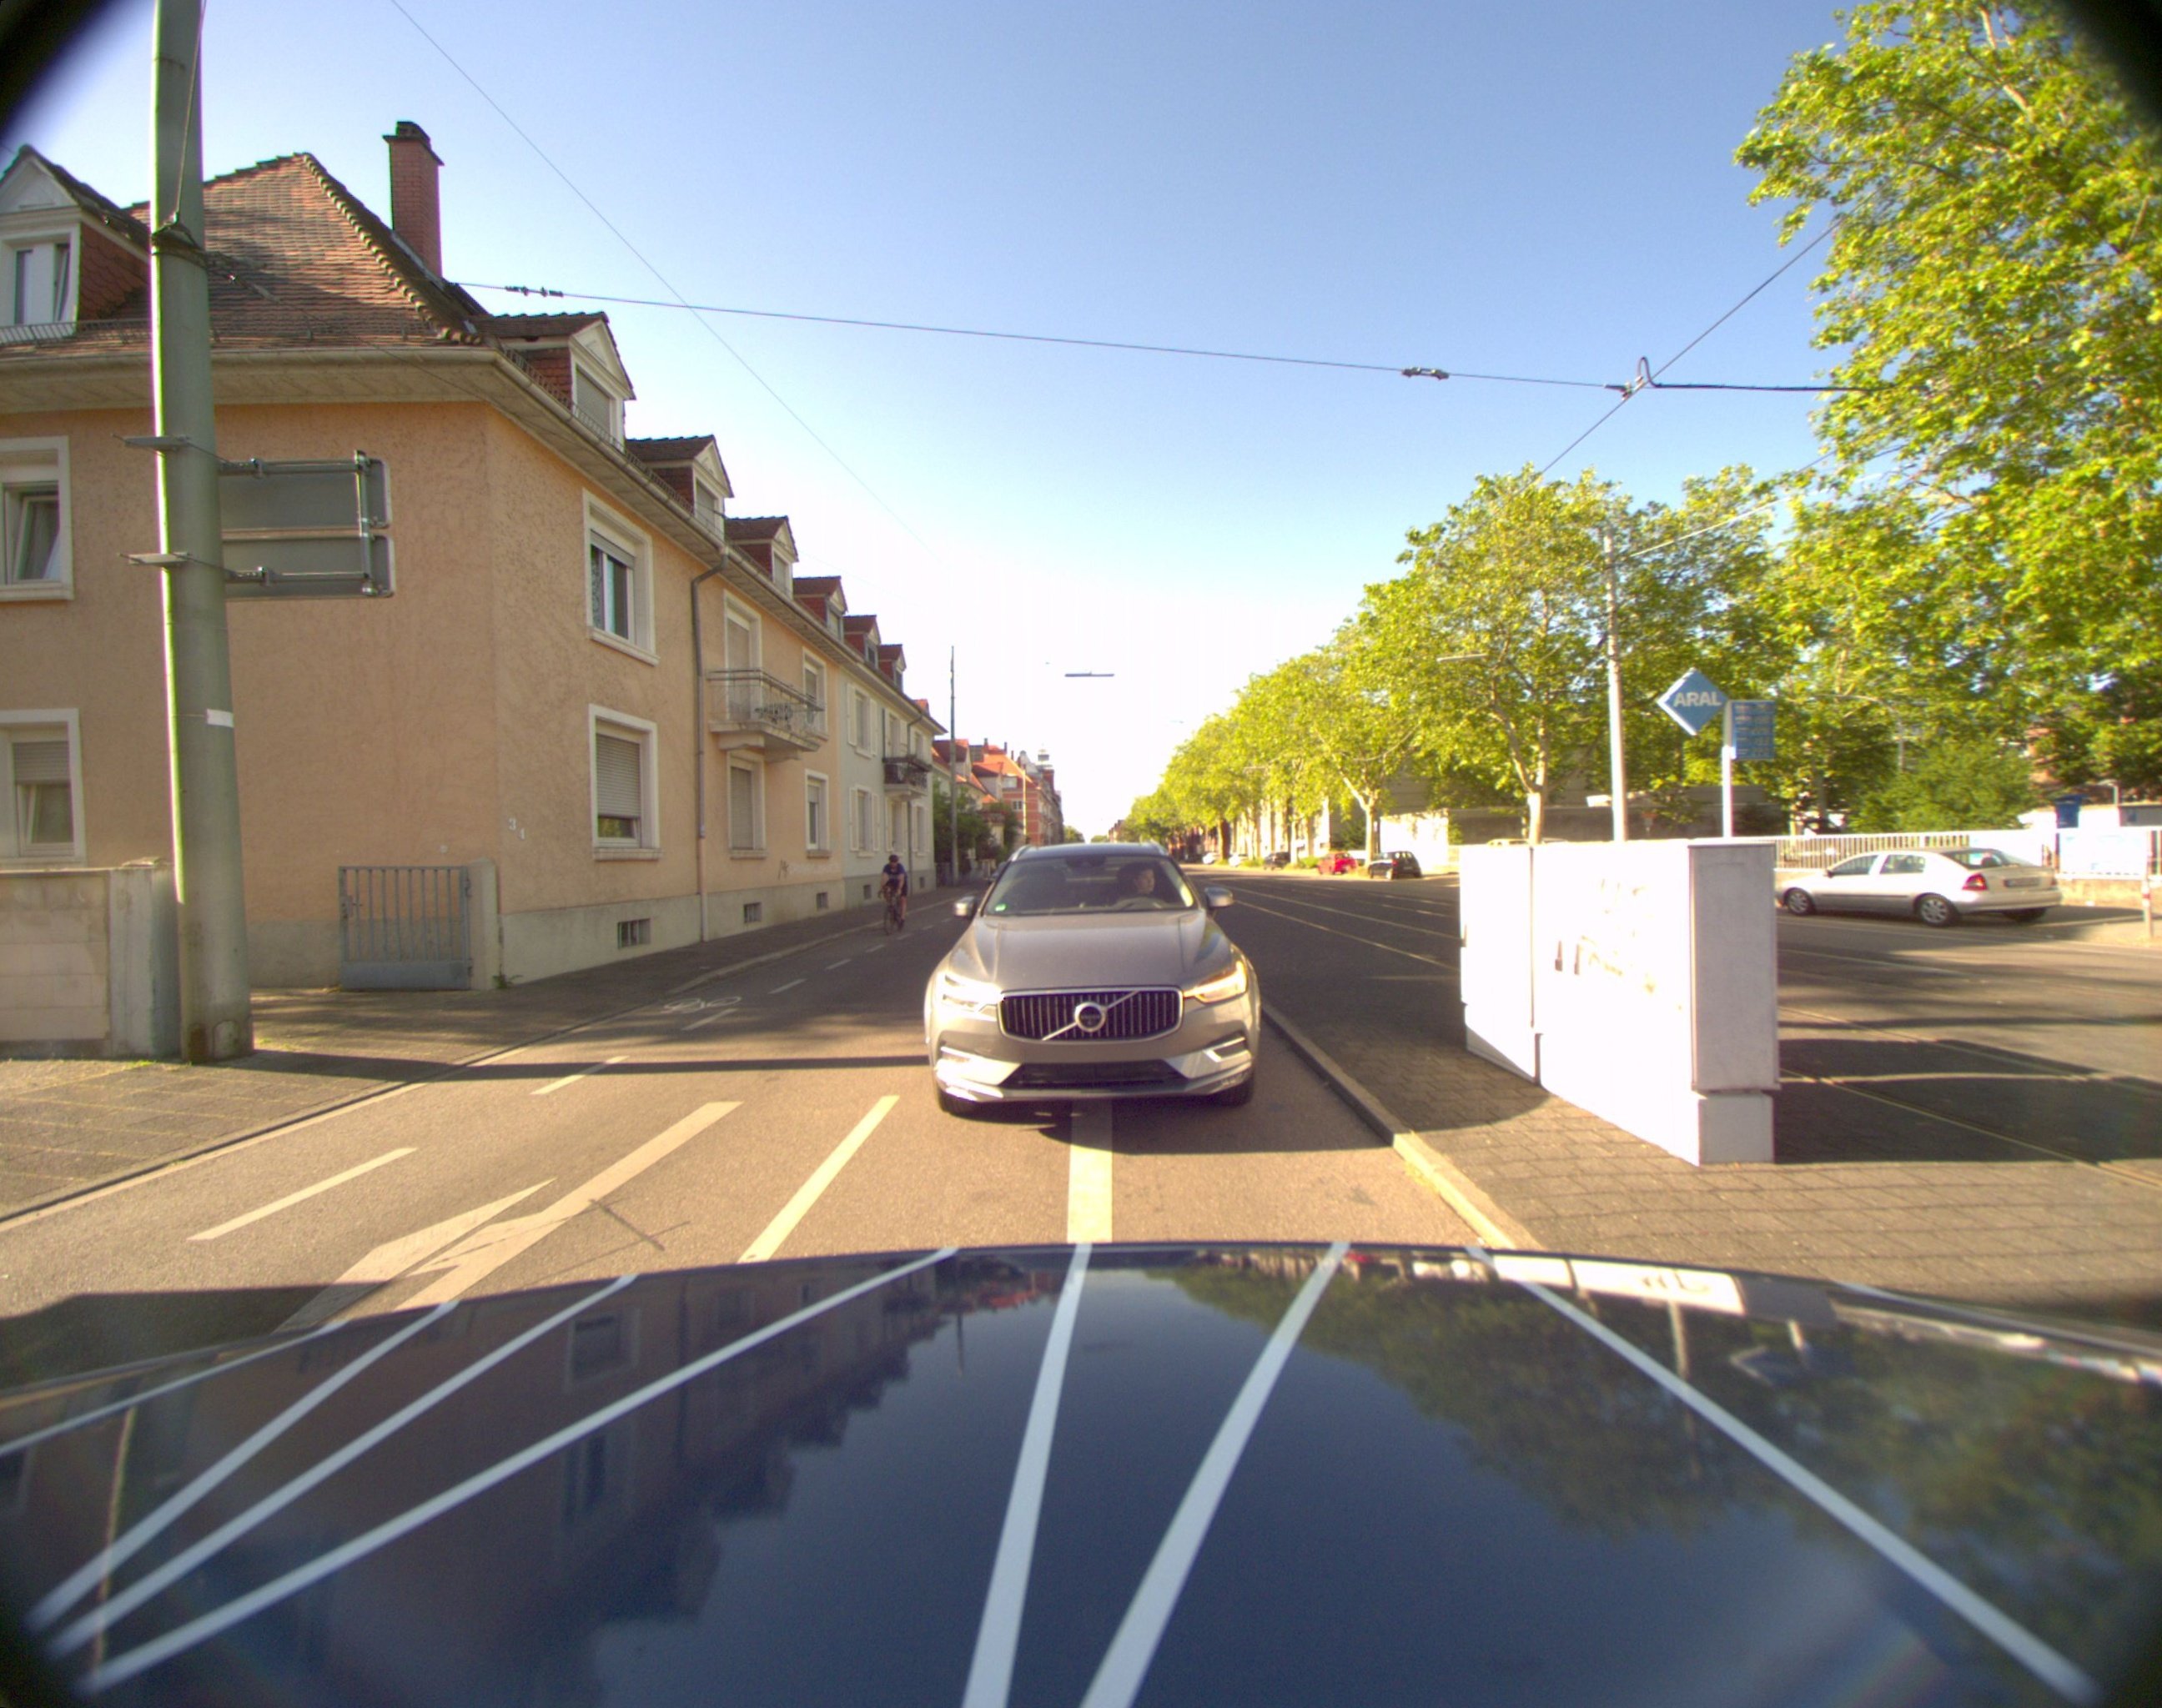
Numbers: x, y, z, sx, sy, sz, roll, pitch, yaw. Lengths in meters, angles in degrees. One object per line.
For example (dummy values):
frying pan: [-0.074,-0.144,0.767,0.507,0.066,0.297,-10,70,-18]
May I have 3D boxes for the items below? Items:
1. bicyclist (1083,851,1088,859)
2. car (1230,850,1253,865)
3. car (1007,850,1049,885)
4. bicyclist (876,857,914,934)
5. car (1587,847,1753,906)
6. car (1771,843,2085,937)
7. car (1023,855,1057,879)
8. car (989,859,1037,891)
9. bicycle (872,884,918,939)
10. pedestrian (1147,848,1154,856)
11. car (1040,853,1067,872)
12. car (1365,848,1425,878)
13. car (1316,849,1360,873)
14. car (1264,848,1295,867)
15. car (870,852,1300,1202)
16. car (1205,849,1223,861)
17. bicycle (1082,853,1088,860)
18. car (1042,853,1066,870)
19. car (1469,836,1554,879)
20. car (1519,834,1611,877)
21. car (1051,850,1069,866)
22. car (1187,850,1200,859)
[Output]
bicyclist: [0.844,0.170,140.719,1.054,1.496,1.250,-1,1,1]
car: [17.570,0.355,83.352,1.758,1.475,3.858,-3,0,3]
car: [-2.920,0.702,42.839,1.867,1.778,5.297,-1,0,1]
bicyclist: [-4.046,0.878,16.581,0.562,1.607,1.016,-1,1,0]
car: [16.473,0.570,21.524,1.745,1.389,3.858,-4,0,3]
car: [16.234,0.610,14.917,1.847,1.477,3.858,-4,0,2]
car: [-2.585,0.815,48.506,1.867,1.399,4.078,-1,0,1]
car: [-3.242,0.965,37.084,1.867,1.399,4.424,-1,0,1]
bicycle: [-4.028,1.225,16.596,0.550,1.056,1.794,-1,1,0]
pedestrian: [19.578,-0.549,213.146,1.686,2.002,1.761,-1,1,1]
car: [-2.140,0.668,60.065,1.867,1.399,4.078,-1,0,1]
car: [16.885,0.459,41.051,1.758,1.449,3.858,-3,0,3]
car: [16.897,0.452,50.193,1.717,1.421,3.858,-3,0,3]
car: [17.165,0.294,65.925,1.758,1.536,3.858,-3,0,3]
car: [0.052,0.818,5.939,1.998,1.609,4.697,-1,0,1]
car: [17.662,0.163,100.946,1.758,1.475,3.858,-3,0,3]
bicycle: [0.830,0.423,140.702,1.054,1.262,3.914,-1,0,1]
car: [-2.361,0.621,66.370,1.867,1.399,4.078,-1,0,1]
car: [21.805,0.170,38.650,1.999,2.002,3.999,-1,0,-1]
car: [24.153,0.081,38.110,1.999,2.002,3.999,-1,0,-1]
car: [-2.333,0.431,85.459,1.867,1.653,4.078,-1,0,1]
car: [18.497,0.056,125.303,1.758,1.475,3.858,-3,0,3]
